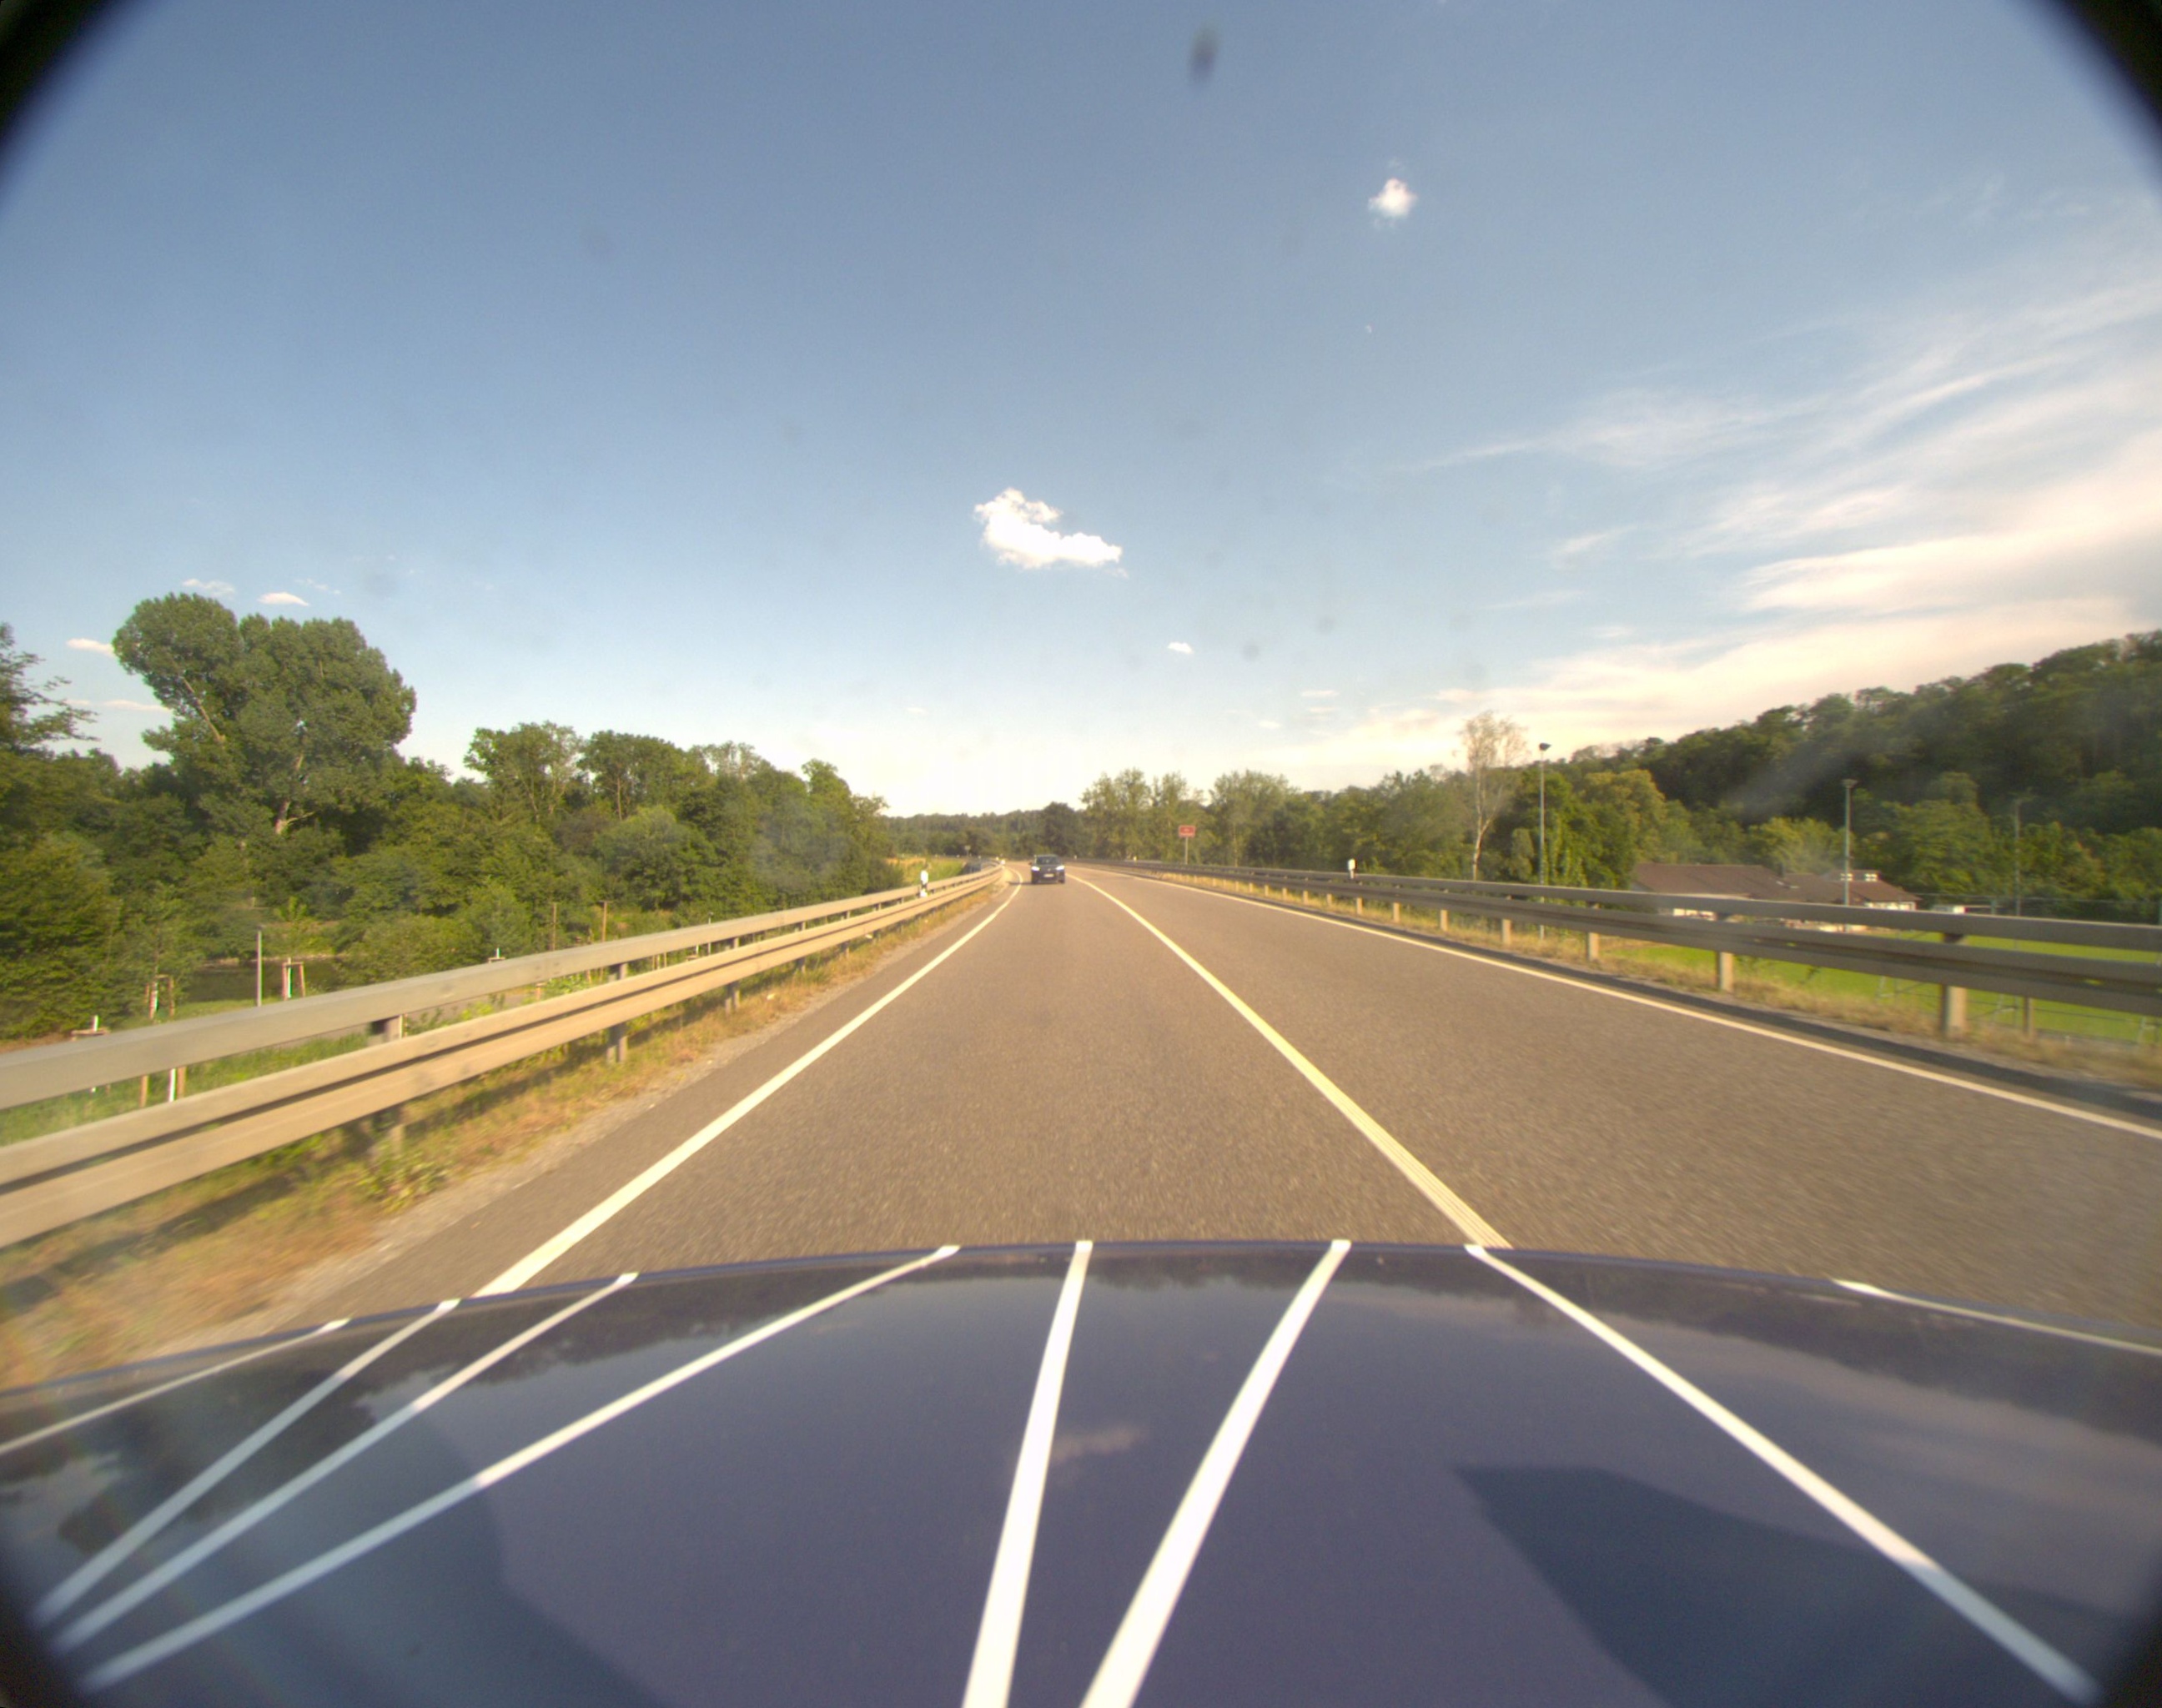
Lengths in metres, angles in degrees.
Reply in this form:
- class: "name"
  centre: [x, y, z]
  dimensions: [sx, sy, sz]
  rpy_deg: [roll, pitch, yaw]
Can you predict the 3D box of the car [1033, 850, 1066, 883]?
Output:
- class: "car"
  centre: [-1.832, 0.662, 42.991]
  dimensions: [1.751, 1.645, 4.304]
  rpy_deg: [-1, 1, -4]
